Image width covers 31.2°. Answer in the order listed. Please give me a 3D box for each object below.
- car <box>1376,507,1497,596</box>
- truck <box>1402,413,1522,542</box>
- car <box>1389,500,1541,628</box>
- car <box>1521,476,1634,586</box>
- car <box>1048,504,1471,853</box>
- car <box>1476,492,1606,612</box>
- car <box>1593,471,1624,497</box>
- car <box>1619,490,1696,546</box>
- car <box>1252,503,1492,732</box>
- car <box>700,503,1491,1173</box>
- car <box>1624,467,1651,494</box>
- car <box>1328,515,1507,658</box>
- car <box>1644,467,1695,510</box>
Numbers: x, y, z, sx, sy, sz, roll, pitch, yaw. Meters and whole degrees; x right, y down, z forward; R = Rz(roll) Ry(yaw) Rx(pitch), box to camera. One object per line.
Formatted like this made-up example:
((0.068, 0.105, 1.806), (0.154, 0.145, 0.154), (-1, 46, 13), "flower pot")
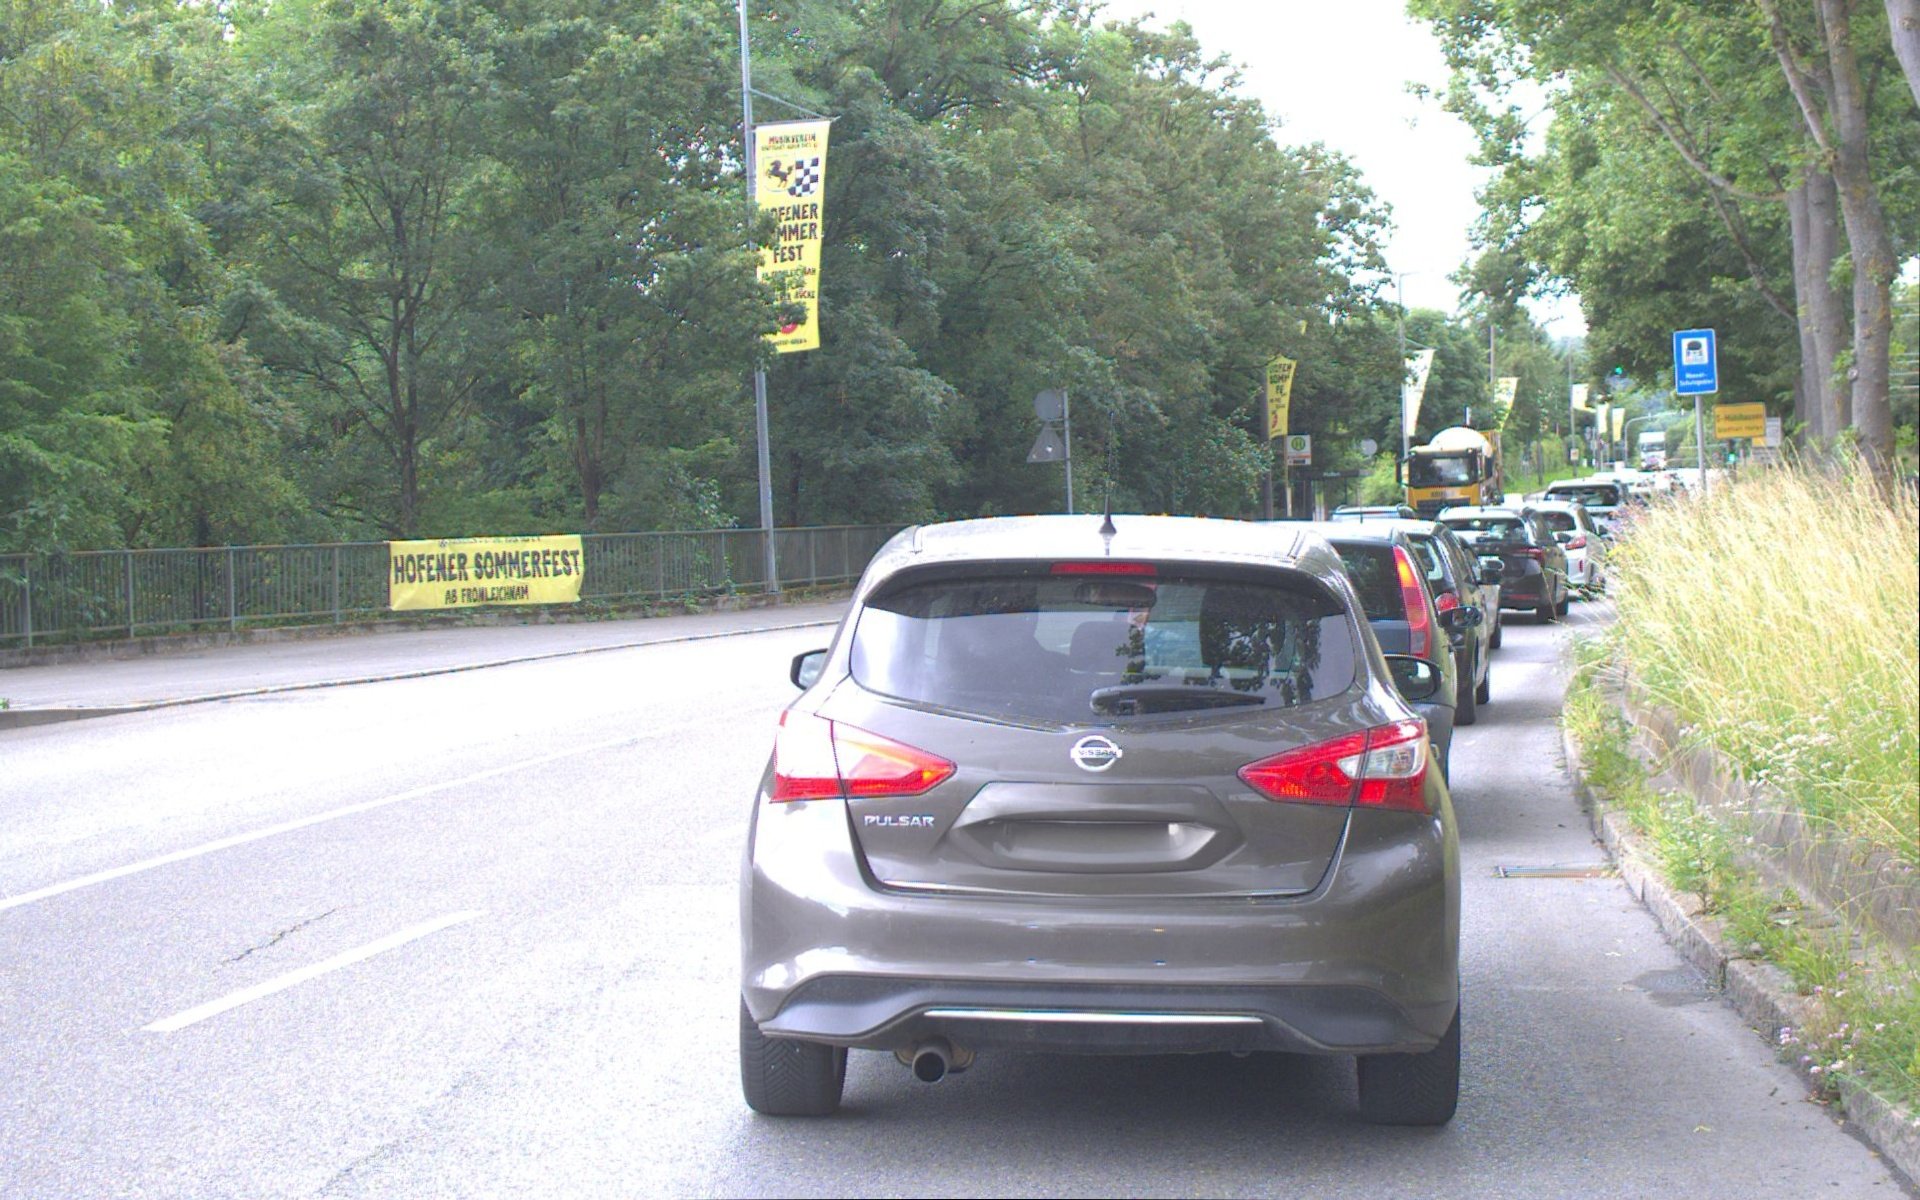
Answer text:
((8.467, -0.841, 60.809), (1.852, 1.481, 4.419), (-1, 0, 11), "car")
((16.185, -3.873, 110.346), (2.656, 3.925, 10.104), (0, 1, 15), "truck")
((6.422, -0.465, 43.517), (1.805, 1.535, 3.998), (1, 1, 9), "car")
((11.842, -1.336, 65.756), (1.892, 2.007, 3.998), (-1, 1, 13), "car")
((1.554, 0.347, 17.535), (1.893, 1.568, 3.999), (0, 0, 6), "car")
((8.846, -0.688, 52.167), (1.719, 1.687, 3.998), (-2, -1, 12), "car")
((39.368, -7.034, 208.736), (1.753, 1.415, 3.998), (-2, -1, 12), "car")
((18.829, -2.204, 92.684), (1.892, 1.440, 3.805), (-1, 1, 13), "car")
((3.137, 0.094, 25.623), (1.578, 1.533, 3.999), (-2, 1, 9), "car")
((0.455, 0.518, 9.747), (1.775, 1.489, 3.999), (0, 0, 5), "car")
((47.234, -8.324, 239.782), (1.719, 1.687, 3.723), (-2, -1, 12), "car")
((4.773, -0.161, 35.575), (1.501, 1.359, 3.585), (-2, 1, 12), "car")
((28.607, -4.475, 138.563), (1.892, 1.647, 3.998), (-1, 1, 13), "car")
